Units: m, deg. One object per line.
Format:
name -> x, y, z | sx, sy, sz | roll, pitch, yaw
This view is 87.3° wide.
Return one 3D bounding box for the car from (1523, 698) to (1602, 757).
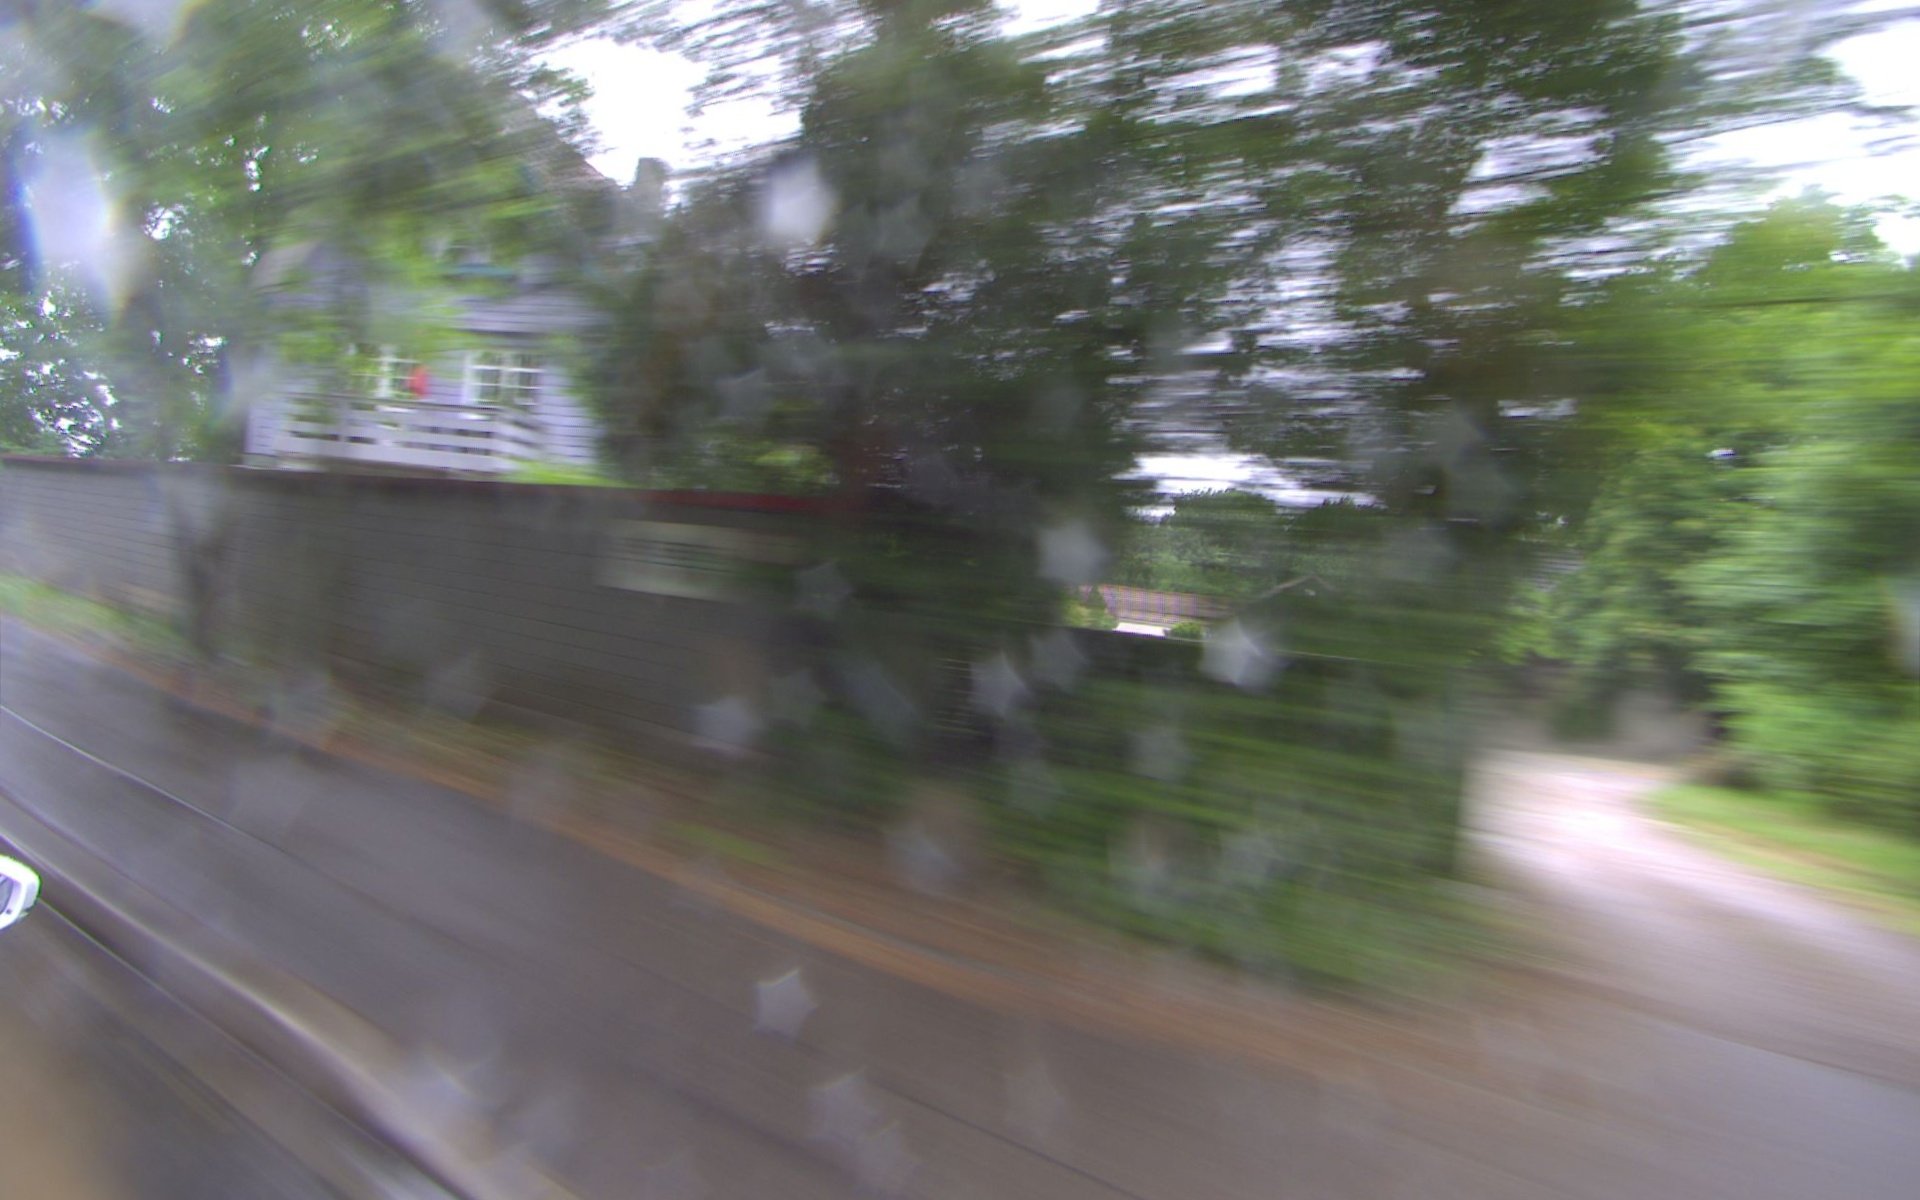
car -> 21.037, 4.404, 35.272 | 1.773, 1.570, 3.999 | 8, -1, 25
